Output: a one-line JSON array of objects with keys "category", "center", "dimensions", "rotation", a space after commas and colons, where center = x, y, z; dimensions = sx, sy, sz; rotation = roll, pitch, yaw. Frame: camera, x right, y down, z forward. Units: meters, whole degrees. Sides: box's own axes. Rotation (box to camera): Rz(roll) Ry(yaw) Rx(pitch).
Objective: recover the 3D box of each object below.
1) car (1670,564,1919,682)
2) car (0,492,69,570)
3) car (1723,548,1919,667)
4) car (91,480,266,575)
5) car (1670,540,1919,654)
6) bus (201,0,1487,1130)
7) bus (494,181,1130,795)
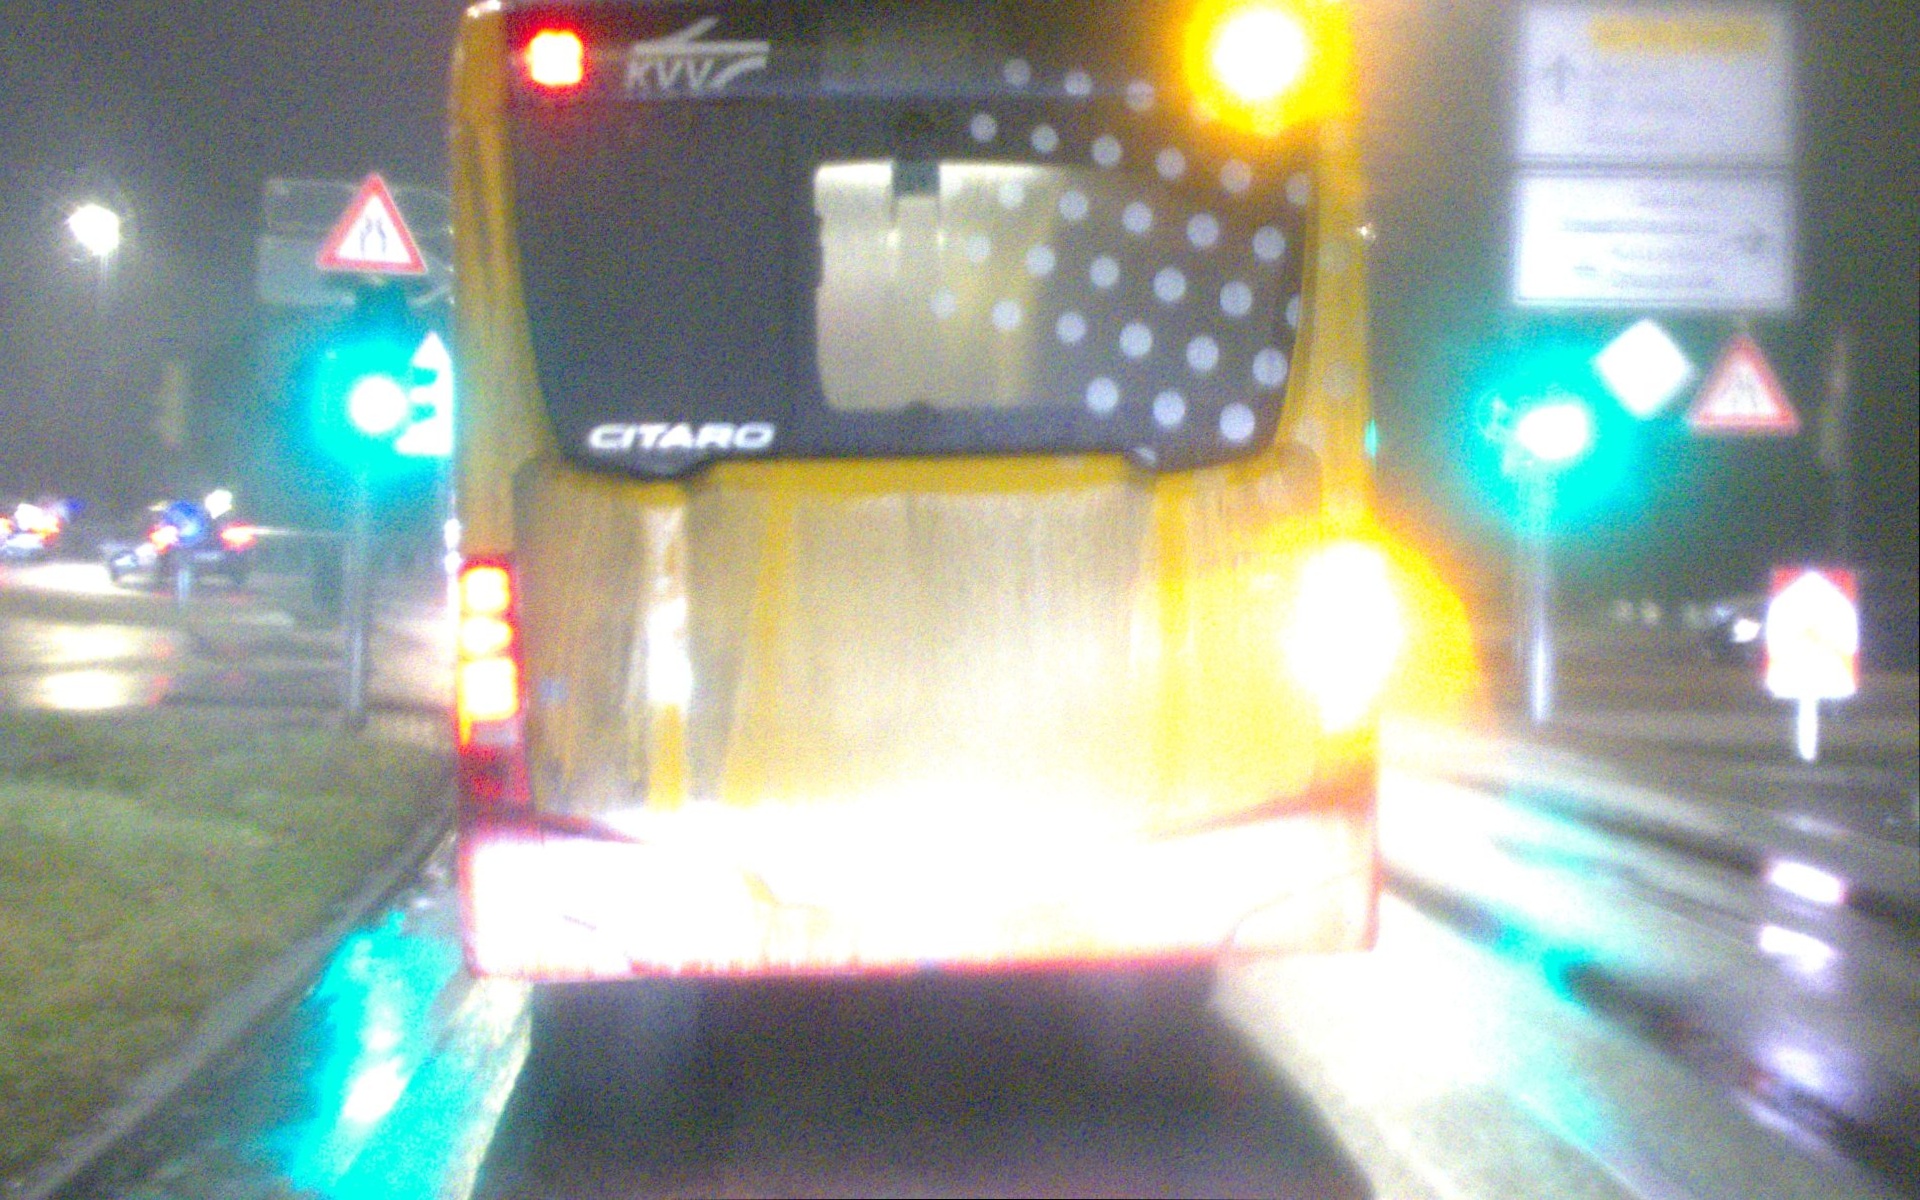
[{"category": "car", "center": [11.369, 0.300, 44.105], "dimensions": [4.041, 1.341, 1.747], "rotation": [2, 2, -5]}, {"category": "car", "center": [-21.091, -1.521, 75.189], "dimensions": [1.816, 1.612, 4.000], "rotation": [2, 0, -34]}, {"category": "car", "center": [13.230, 0.125, 48.296], "dimensions": [4.482, 1.513, 1.857], "rotation": [2, 2, -5]}, {"category": "car", "center": [-14.171, -1.300, 62.220], "dimensions": [1.816, 1.612, 4.000], "rotation": [2, 0, -32]}, {"category": "car", "center": [12.951, -0.039, 51.380], "dimensions": [4.163, 1.513, 1.857], "rotation": [2, 2, -5]}, {"category": "bus", "center": [-0.551, -0.326, 13.614], "dimensions": [3.284, 3.040, 9.546], "rotation": [-1, 2, -3]}, {"category": "bus", "center": [-1.158, -0.726, 22.609], "dimensions": [3.247, 3.109, 8.647], "rotation": [3, 2, -5]}]
